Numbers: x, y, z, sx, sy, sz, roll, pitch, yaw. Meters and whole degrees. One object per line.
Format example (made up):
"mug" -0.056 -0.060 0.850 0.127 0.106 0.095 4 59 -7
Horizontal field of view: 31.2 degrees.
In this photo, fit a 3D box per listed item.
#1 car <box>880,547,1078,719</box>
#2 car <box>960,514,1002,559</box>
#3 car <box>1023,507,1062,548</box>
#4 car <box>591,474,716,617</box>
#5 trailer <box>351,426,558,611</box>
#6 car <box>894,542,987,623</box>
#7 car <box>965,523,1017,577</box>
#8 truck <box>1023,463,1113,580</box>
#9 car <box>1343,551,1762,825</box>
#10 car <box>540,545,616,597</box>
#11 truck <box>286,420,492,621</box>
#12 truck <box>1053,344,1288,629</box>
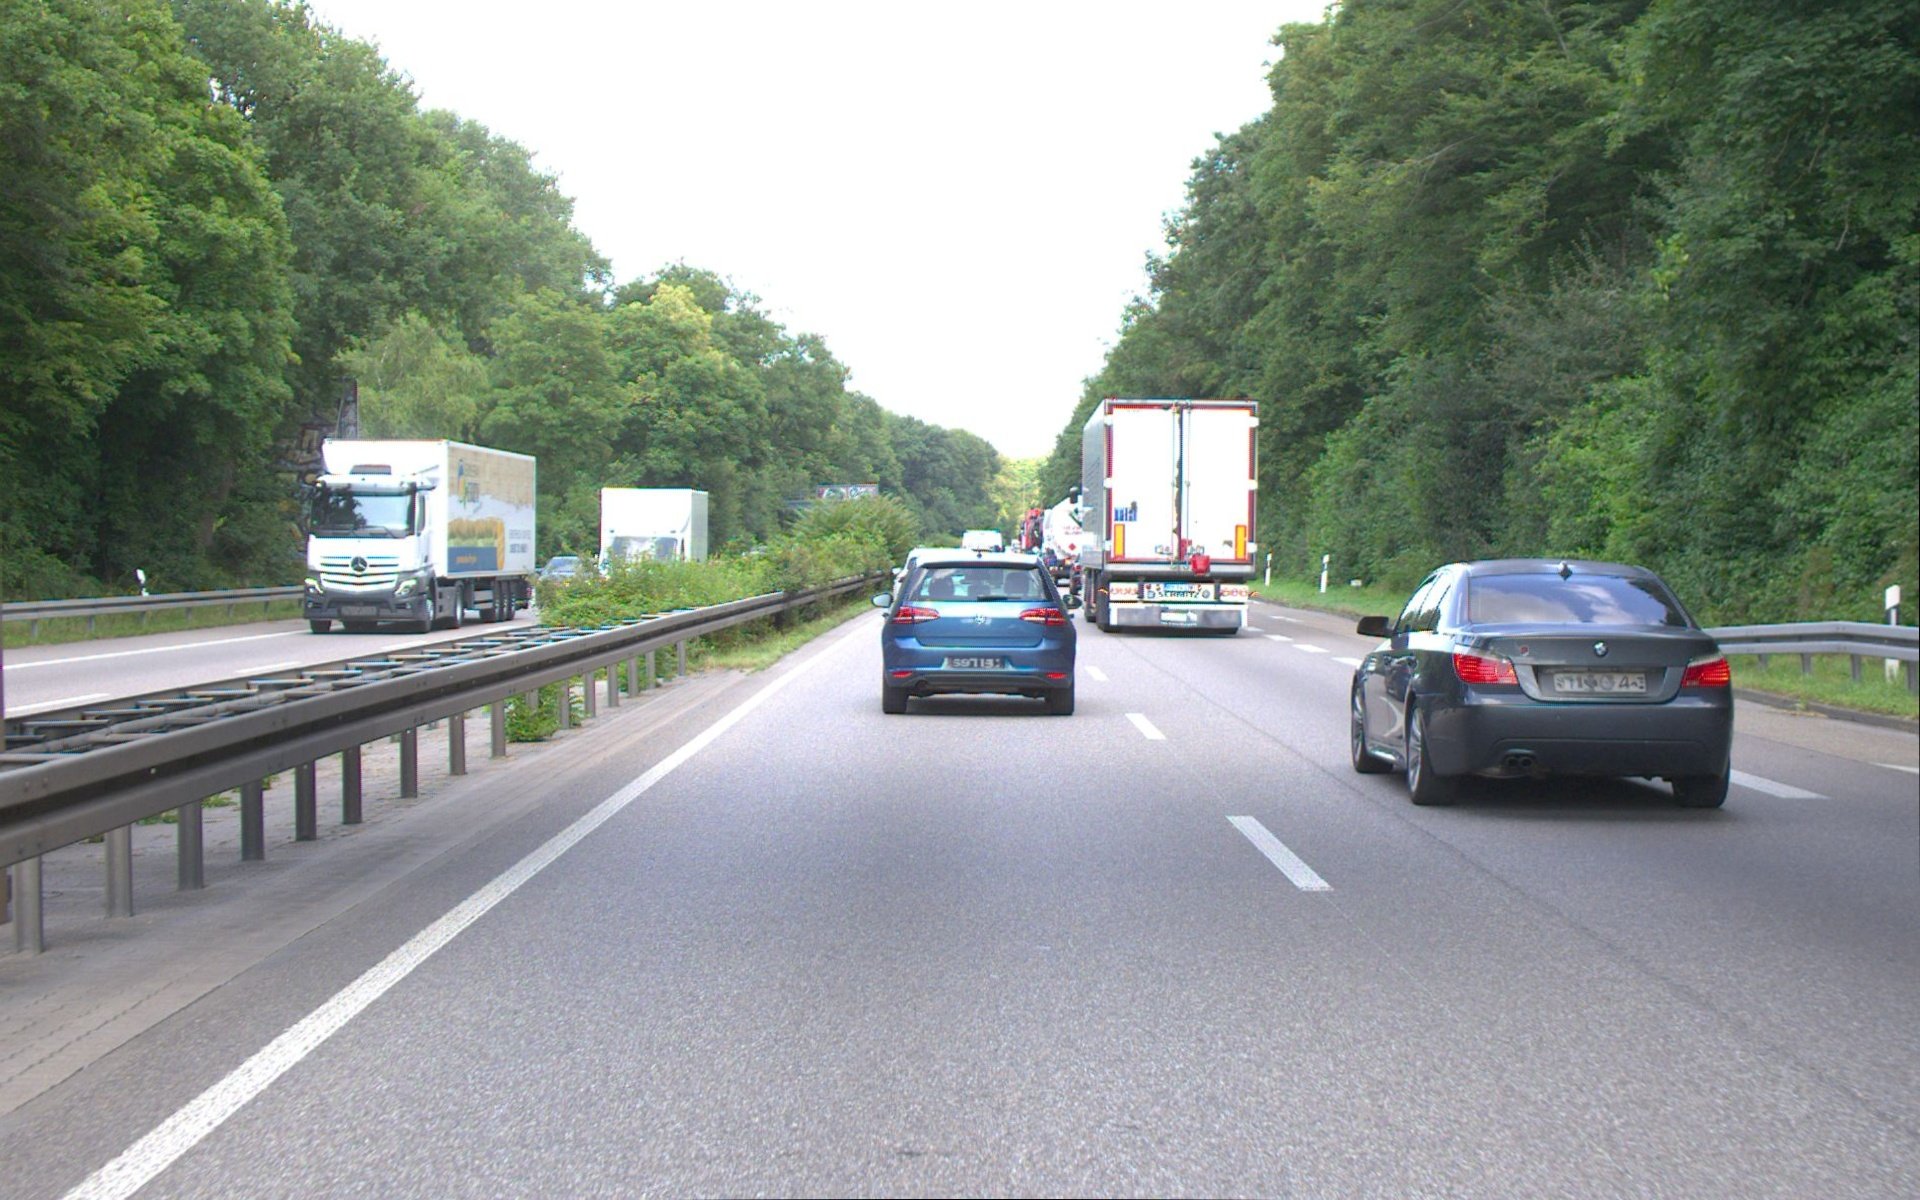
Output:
"car" 0.174 0.254 31.936 1.705 1.465 4.000 1 1 0
"car" 1.054 -3.282 177.260 1.993 2.247 4.442 -1 1 -2
"car" 4.731 -4.195 198.375 1.993 2.319 4.443 -1 1 -2
"car" -7.232 -1.314 81.899 2.288 3.221 7.287 -1 1 0
"trailer" -11.675 -1.873 80.358 3.060 4.028 9.974 -1 1 2
"car" -0.351 -0.356 65.558 1.665 1.495 4.152 0 1 1
"car" 1.189 -1.960 133.836 1.954 2.007 4.000 -1 1 0
"truck" 4.142 -2.987 134.822 3.232 4.371 12.970 0 0 1
"car" 3.538 0.451 21.392 1.774 1.470 4.880 1 1 0
"car" -11.509 -0.894 103.838 1.734 1.468 4.470 -1 1 1
"truck" -11.853 -1.655 71.959 3.040 3.973 6.748 -1 1 1
"truck" 3.649 -2.003 62.629 3.242 4.700 11.008 -1 1 -2
